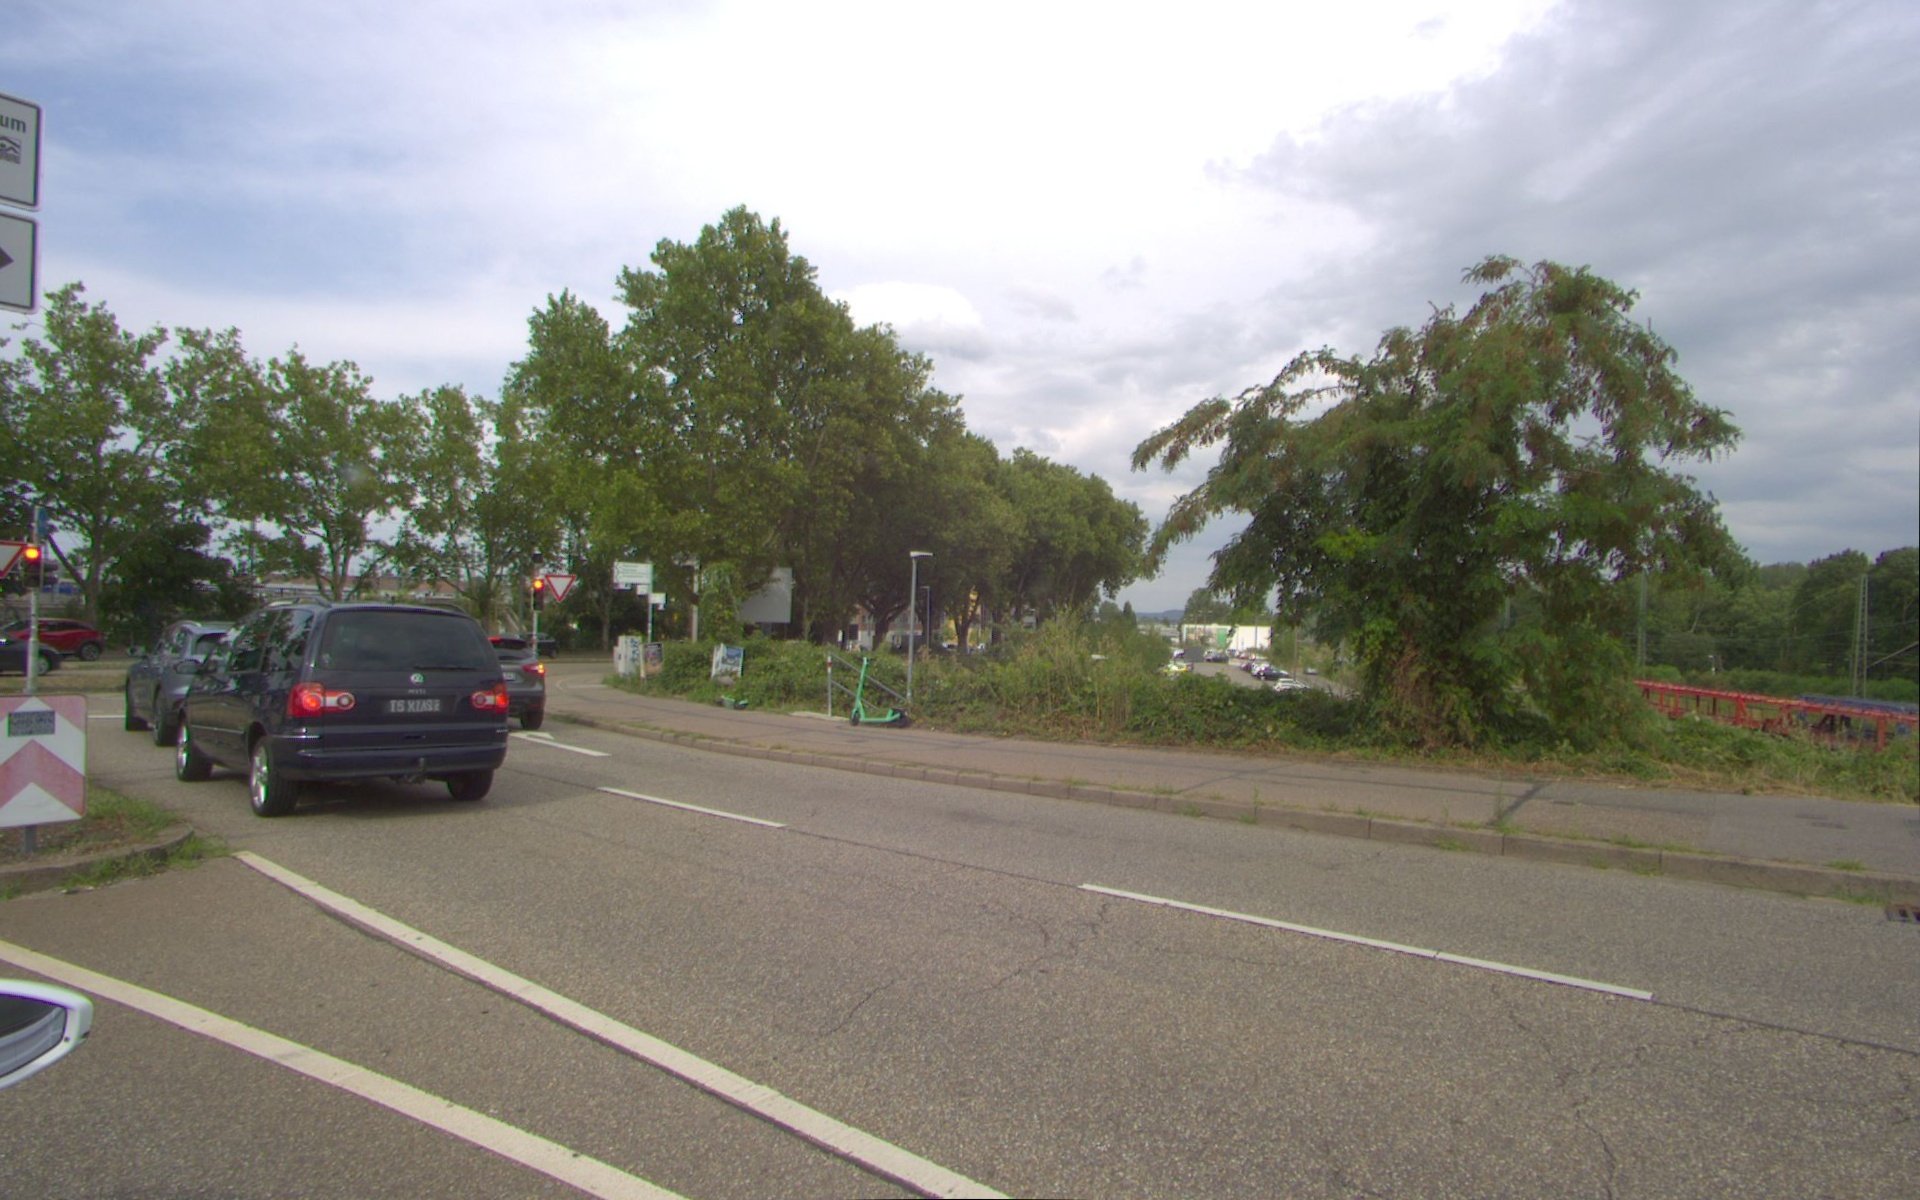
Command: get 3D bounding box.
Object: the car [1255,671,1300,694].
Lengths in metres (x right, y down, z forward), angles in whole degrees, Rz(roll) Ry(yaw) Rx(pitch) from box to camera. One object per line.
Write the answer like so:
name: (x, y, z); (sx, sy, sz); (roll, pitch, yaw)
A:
car: (31.219, 8.127, 98.597); (3.923, 2.040, 1.762); (1, -1, 10)

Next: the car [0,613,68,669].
car: (-26.315, 1.069, 26.291); (1.671, 1.469, 4.068); (0, -1, 14)

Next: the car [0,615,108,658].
car: (-33.140, 1.266, 35.722); (1.670, 1.466, 3.963); (0, -1, 12)

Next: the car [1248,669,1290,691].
car: (32.105, 8.281, 104.255); (3.923, 2.040, 1.762); (1, -1, 10)

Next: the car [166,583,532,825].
car: (-5.784, 0.851, 9.275); (4.092, 1.746, 1.743); (-1, -4, 42)

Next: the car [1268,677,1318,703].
car: (28.966, 7.805, 87.191); (3.923, 2.040, 1.762); (1, -1, 10)

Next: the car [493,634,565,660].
car: (-26.504, 2.848, 61.676); (1.729, 1.466, 4.339); (0, -1, 16)

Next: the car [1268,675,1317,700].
car: (30.018, 7.908, 90.504); (3.923, 2.040, 1.762); (1, -1, 10)

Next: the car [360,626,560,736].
car: (-8.667, 1.325, 17.216); (4.094, 1.663, 1.742); (-2, -4, 44)

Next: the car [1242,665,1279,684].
car: (34.690, 8.611, 115.640); (3.923, 2.040, 1.762); (1, -1, 10)

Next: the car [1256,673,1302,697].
car: (30.169, 8.013, 94.825); (3.923, 2.040, 1.762); (1, -1, 10)

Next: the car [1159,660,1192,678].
car: (26.836, 8.633, 124.781); (3.926, 2.040, 1.761); (1, -1, 16)

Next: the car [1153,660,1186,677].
car: (26.706, 8.697, 127.679); (3.926, 2.040, 1.761); (1, -1, 16)

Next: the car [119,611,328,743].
car: (-10.533, 1.037, 14.202); (4.113, 1.604, 1.682); (-2, -4, 44)

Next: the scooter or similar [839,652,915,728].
scooter or similar: (-1.365, 1.458, 16.446); (1.262, 1.198, 0.396); (-1, -1, 32)

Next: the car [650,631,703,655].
car: (-20.363, 3.093, 72.075); (1.876, 1.616, 3.909); (1, -1, 15)

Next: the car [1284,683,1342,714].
car: (26.890, 7.501, 76.376); (3.923, 2.040, 1.762); (1, -1, 10)

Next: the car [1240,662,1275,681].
car: (36.910, 8.871, 124.417); (3.923, 2.040, 1.762); (1, -1, 10)

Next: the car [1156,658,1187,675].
car: (28.009, 8.842, 132.509); (3.926, 2.040, 1.761); (1, -1, 16)

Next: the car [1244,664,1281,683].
car: (36.113, 8.738, 119.586); (3.923, 2.040, 1.762); (1, -1, 10)
